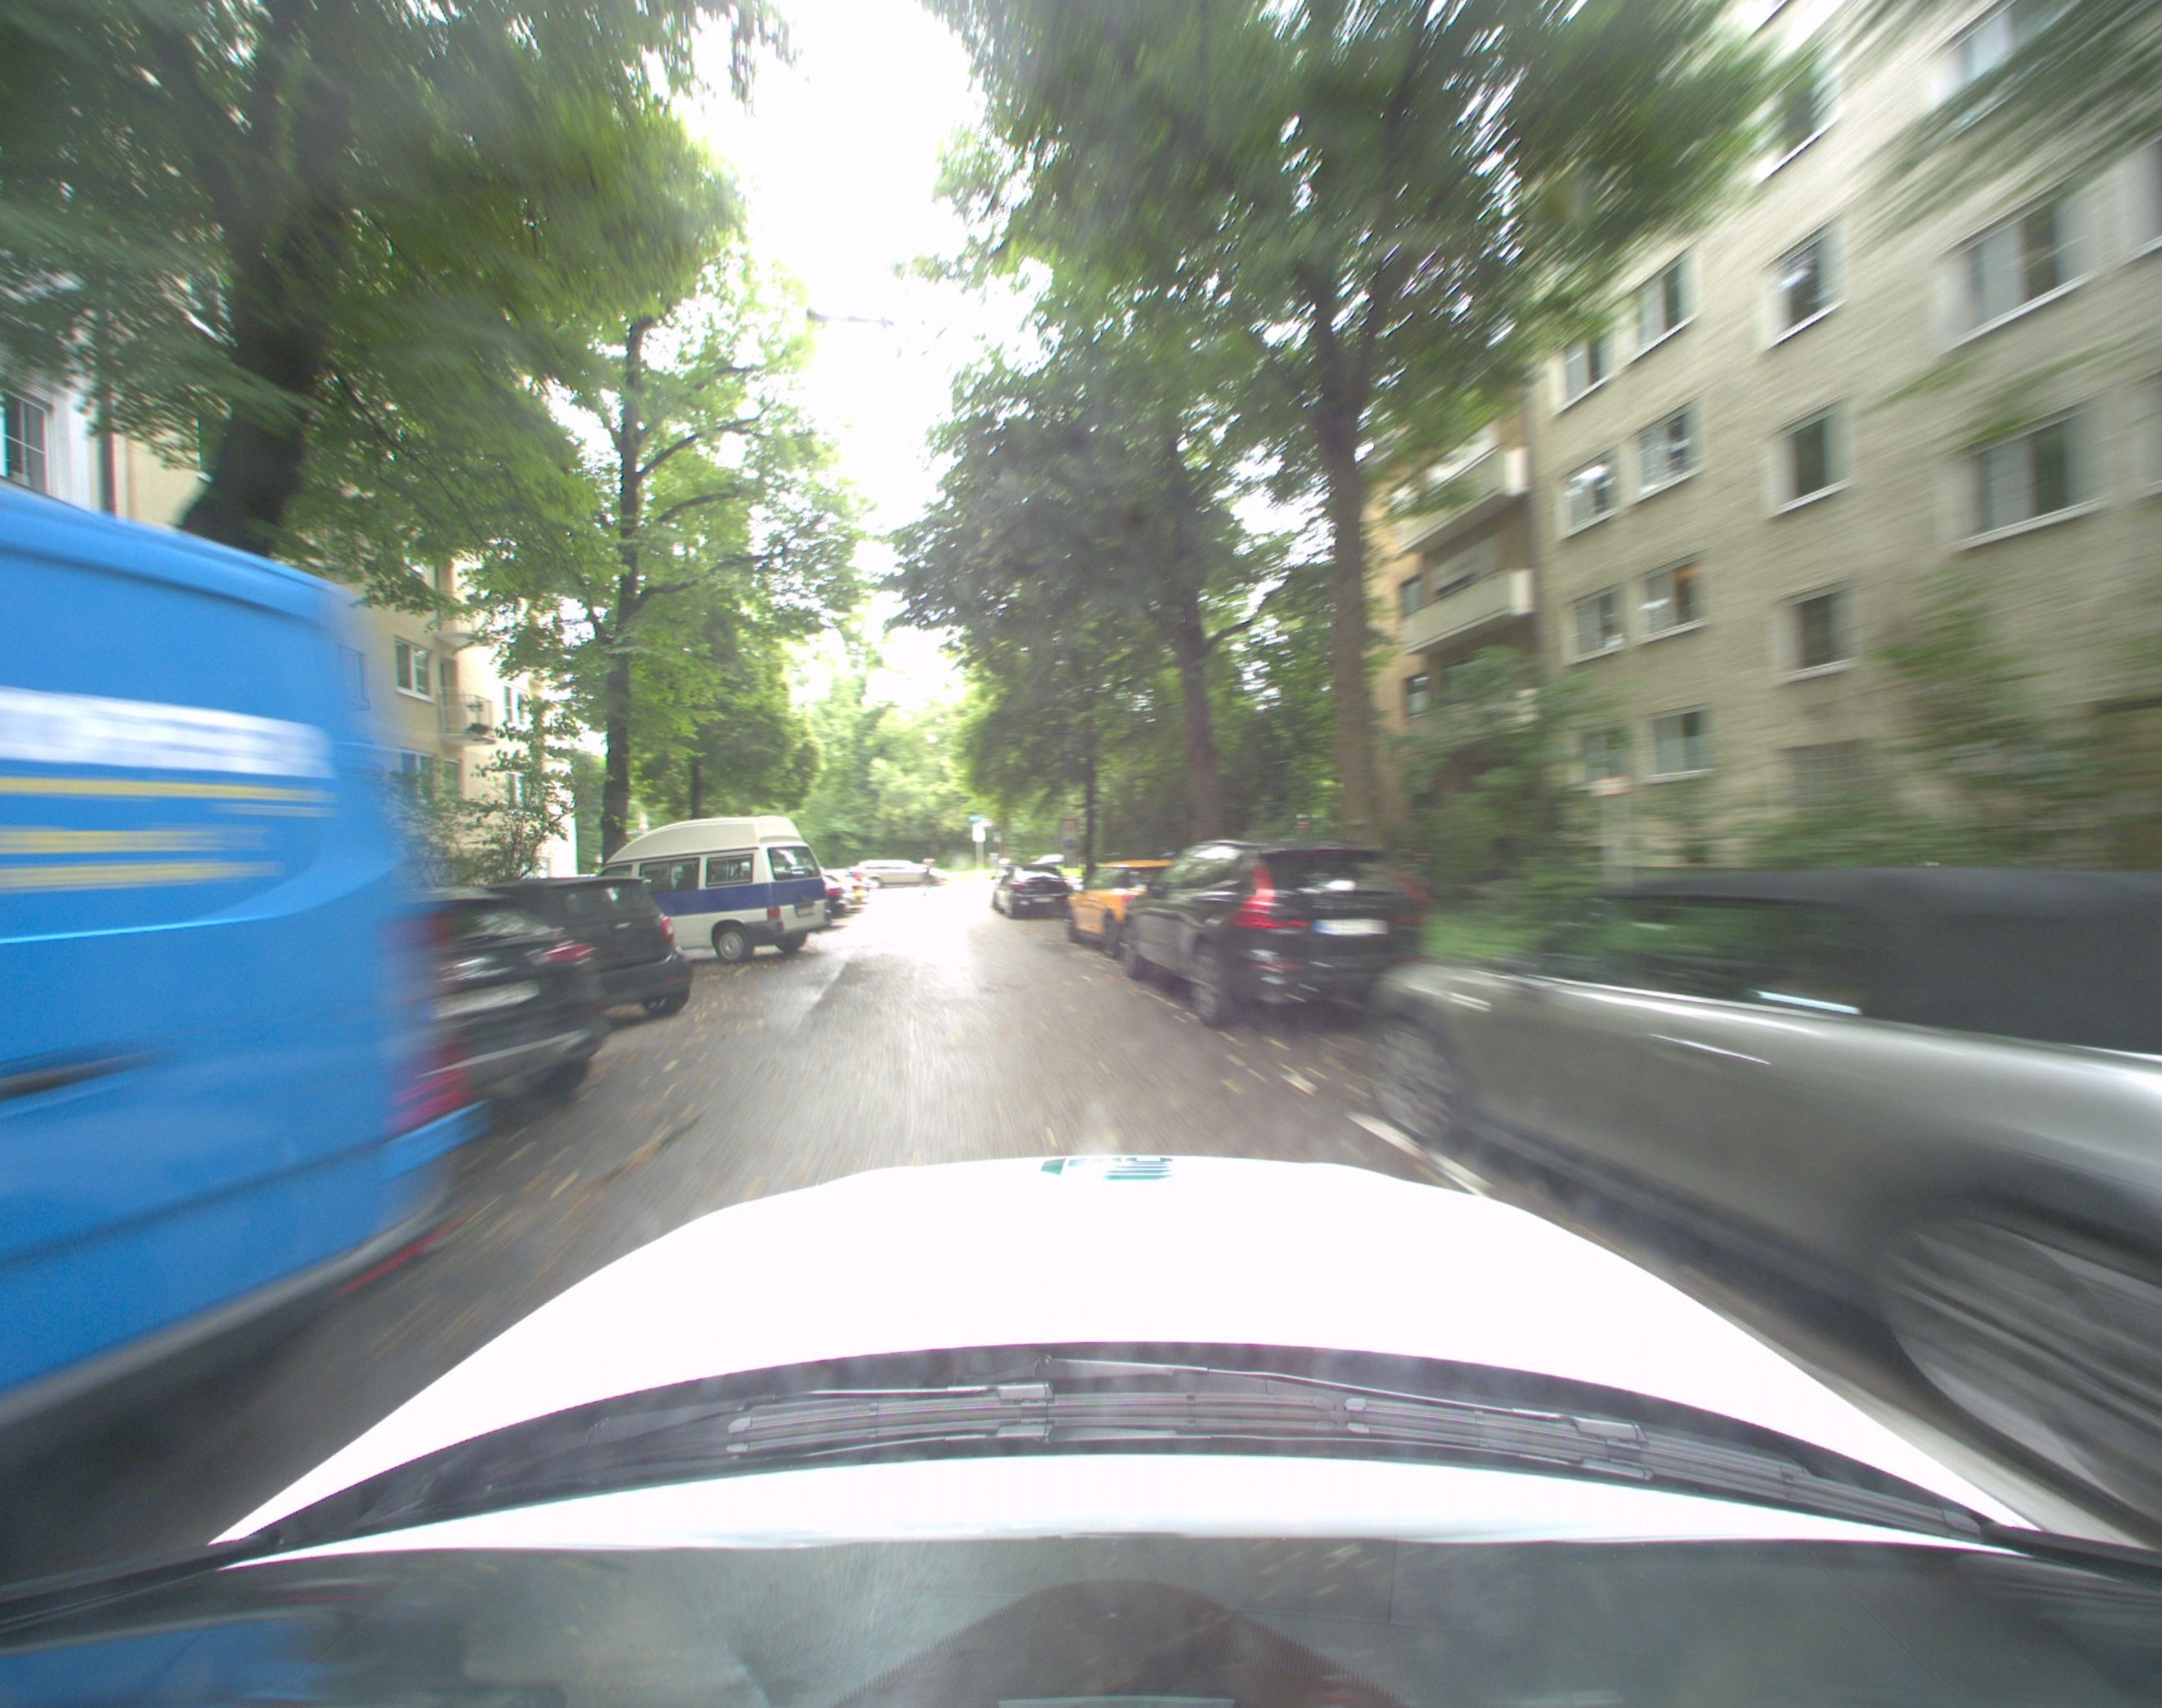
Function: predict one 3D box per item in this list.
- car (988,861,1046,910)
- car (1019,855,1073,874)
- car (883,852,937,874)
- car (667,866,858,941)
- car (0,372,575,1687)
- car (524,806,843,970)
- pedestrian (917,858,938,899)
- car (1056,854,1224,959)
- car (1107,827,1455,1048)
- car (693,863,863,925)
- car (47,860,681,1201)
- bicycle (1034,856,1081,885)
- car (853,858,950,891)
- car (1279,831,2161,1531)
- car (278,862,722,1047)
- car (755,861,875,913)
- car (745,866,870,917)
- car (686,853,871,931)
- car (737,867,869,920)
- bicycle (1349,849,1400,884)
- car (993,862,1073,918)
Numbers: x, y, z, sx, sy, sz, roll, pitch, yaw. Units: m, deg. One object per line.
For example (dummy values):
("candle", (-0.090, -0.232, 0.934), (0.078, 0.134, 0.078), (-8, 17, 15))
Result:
("car", (-2.204, 0.995, 27.276), (1.647, 1.474, 3.632), (-2, 0, -9))
("car", (-3.205, 0.968, 74.334), (4.597, 1.471, 1.919), (-3, 0, -20))
("car", (-14.814, 0.778, 70.400), (4.441, 1.579, 1.923), (-3, 0, -14))
("car", (-7.559, 1.138, 19.703), (3.990, 1.433, 1.729), (-3, 0, -12))
("car", (-4.447, 0.489, 2.511), (5.428, 2.354, 2.077), (-5, -1, 24))
("car", (-6.727, 0.568, 13.998), (4.539, 2.377, 1.911), (-4, 0, 11))
("pedestrian", (-6.323, 0.998, 33.602), (0.779, 1.617, 0.758), (-2, 2, -9))
("car", (0.813, 0.755, 13.556), (1.621, 1.412, 3.761), (-2, 0, -15))
("car", (1.687, 0.639, 8.628), (1.832, 1.629, 4.508), (-2, 0, -11))
("car", (-9.055, 1.160, 24.676), (4.443, 1.596, 1.831), (-2, 0, -7))
("car", (-4.885, 0.955, 5.505), (3.949, 1.536, 1.827), (-4, -1, 27))
("bicycle", (-0.903, 0.618, 30.980), (1.748, 0.982, 0.273), (-3, 0, -3))
("car", (-9.567, 1.068, 43.725), (4.796, 1.495, 1.838), (-2, 0, -7))
("car", (2.799, 0.696, 3.742), (1.900, 1.413, 4.411), (-4, 0, -12))
("car", (-6.001, 0.998, 8.500), (3.823, 1.560, 1.825), (-4, -1, 19))
("car", (-10.215, 1.242, 31.547), (4.165, 1.601, 1.729), (-3, 2, -12))
("car", (-9.682, 1.288, 29.142), (3.990, 1.464, 1.729), (-3, 1, -12))
("car", (-8.054, 0.974, 22.081), (4.312, 1.731, 1.843), (-3, 0, -9))
("car", (-9.057, 1.258, 26.857), (3.883, 1.441, 1.733), (-3, 0, -13))
("bicycle", (9.098, 0.382, 25.301), (0.554, 1.044, 1.828), (-3, 0, -13))
("car", (-1.447, 0.954, 23.104), (1.683, 1.358, 3.992), (-2, 0, -12))
